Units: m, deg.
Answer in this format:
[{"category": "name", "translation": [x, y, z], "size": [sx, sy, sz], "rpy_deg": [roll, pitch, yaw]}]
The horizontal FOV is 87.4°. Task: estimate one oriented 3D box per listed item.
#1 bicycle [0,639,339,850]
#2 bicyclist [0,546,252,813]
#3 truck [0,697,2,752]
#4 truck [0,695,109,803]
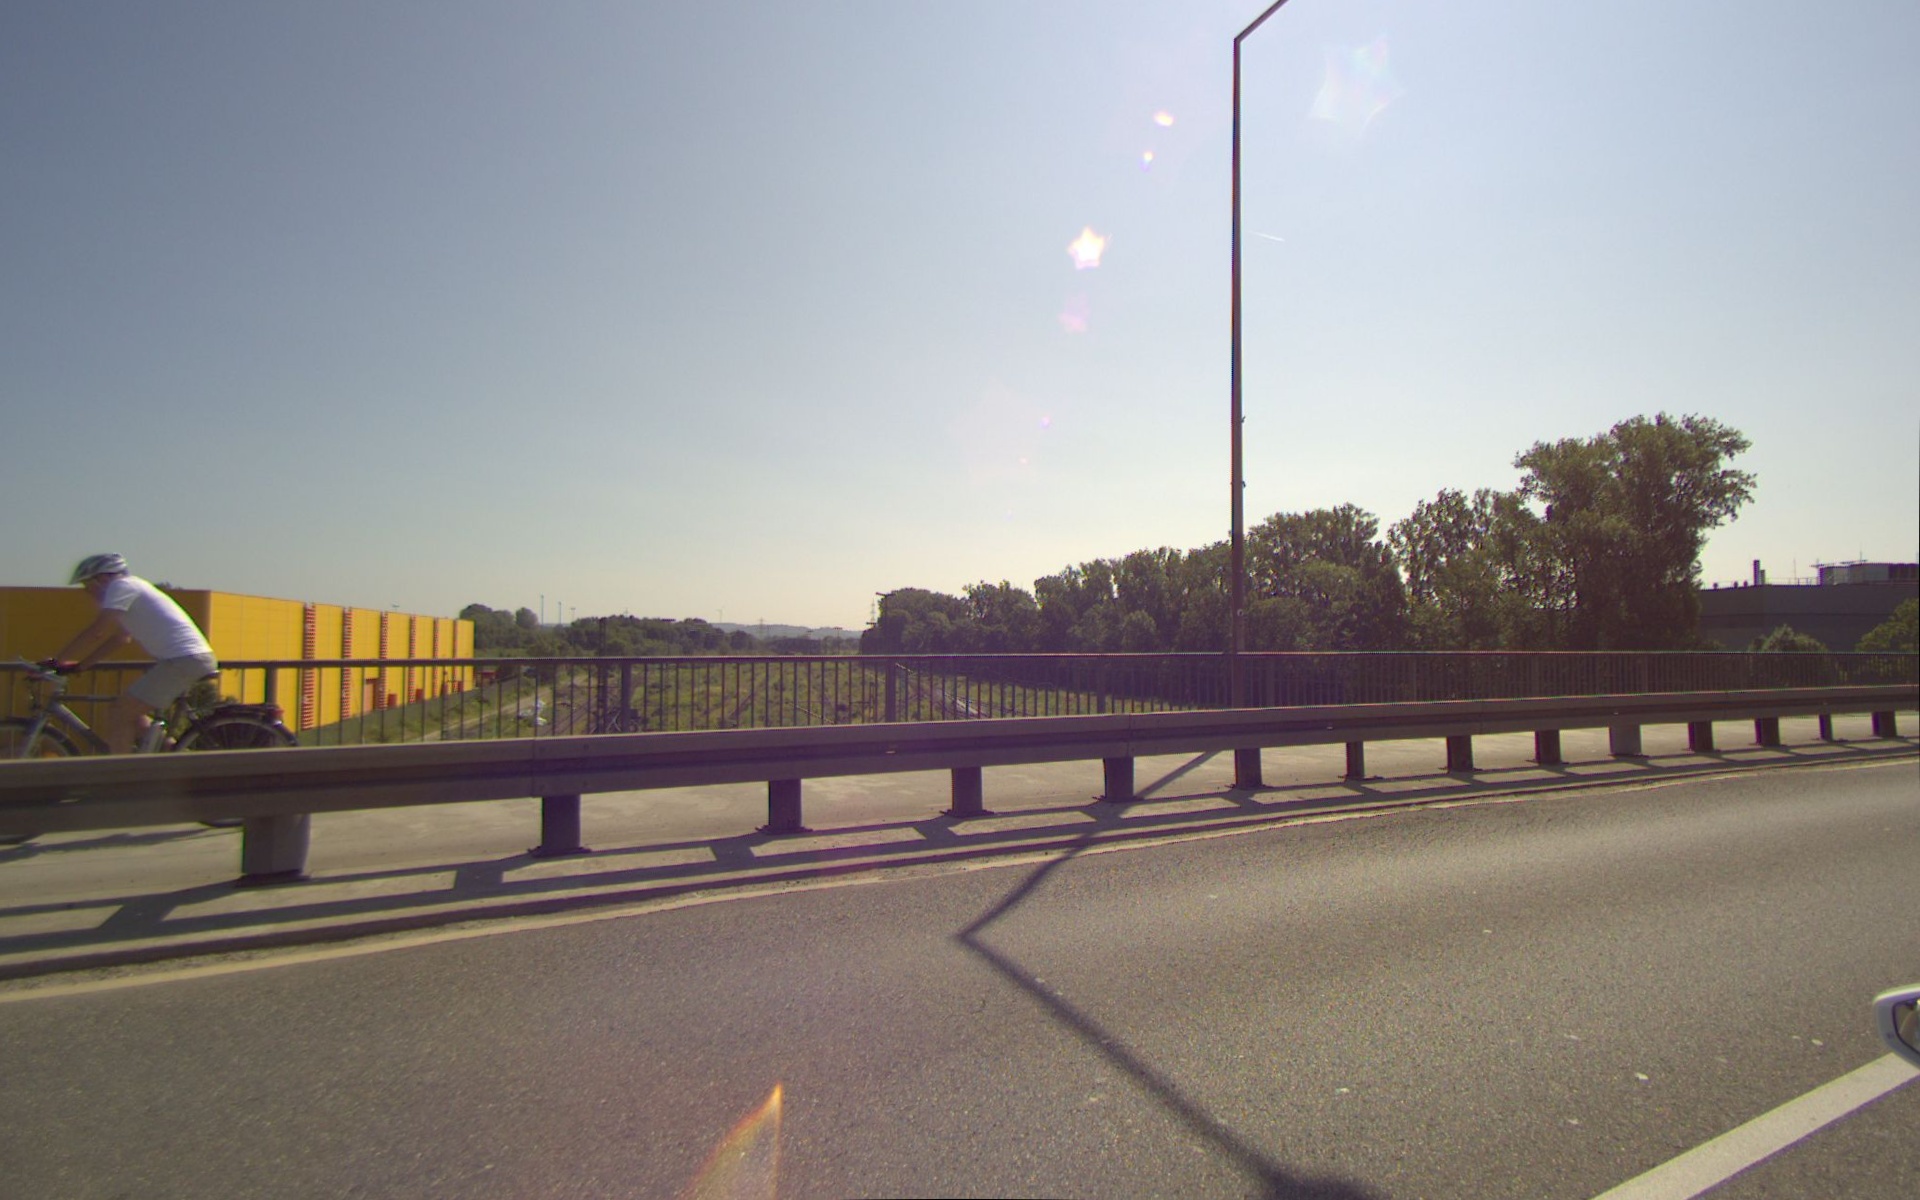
[{"category": "bicycle", "translation": [-4.988, 0.823, 5.988], "size": [2.123, 1.149, 0.609], "rpy_deg": [2, -4, -30]}, {"category": "bicyclist", "translation": [-4.962, 0.465, 6.020], "size": [1.065, 1.457, 0.605], "rpy_deg": [2, -3, -30]}, {"category": "truck", "translation": [-69.083, 9.624, 62.844], "size": [5.881, 5.751, 17.483], "rpy_deg": [2, -1, -17]}, {"category": "truck", "translation": [-63.053, 9.642, 64.820], "size": [5.881, 5.751, 17.483], "rpy_deg": [2, -1, -17]}]
